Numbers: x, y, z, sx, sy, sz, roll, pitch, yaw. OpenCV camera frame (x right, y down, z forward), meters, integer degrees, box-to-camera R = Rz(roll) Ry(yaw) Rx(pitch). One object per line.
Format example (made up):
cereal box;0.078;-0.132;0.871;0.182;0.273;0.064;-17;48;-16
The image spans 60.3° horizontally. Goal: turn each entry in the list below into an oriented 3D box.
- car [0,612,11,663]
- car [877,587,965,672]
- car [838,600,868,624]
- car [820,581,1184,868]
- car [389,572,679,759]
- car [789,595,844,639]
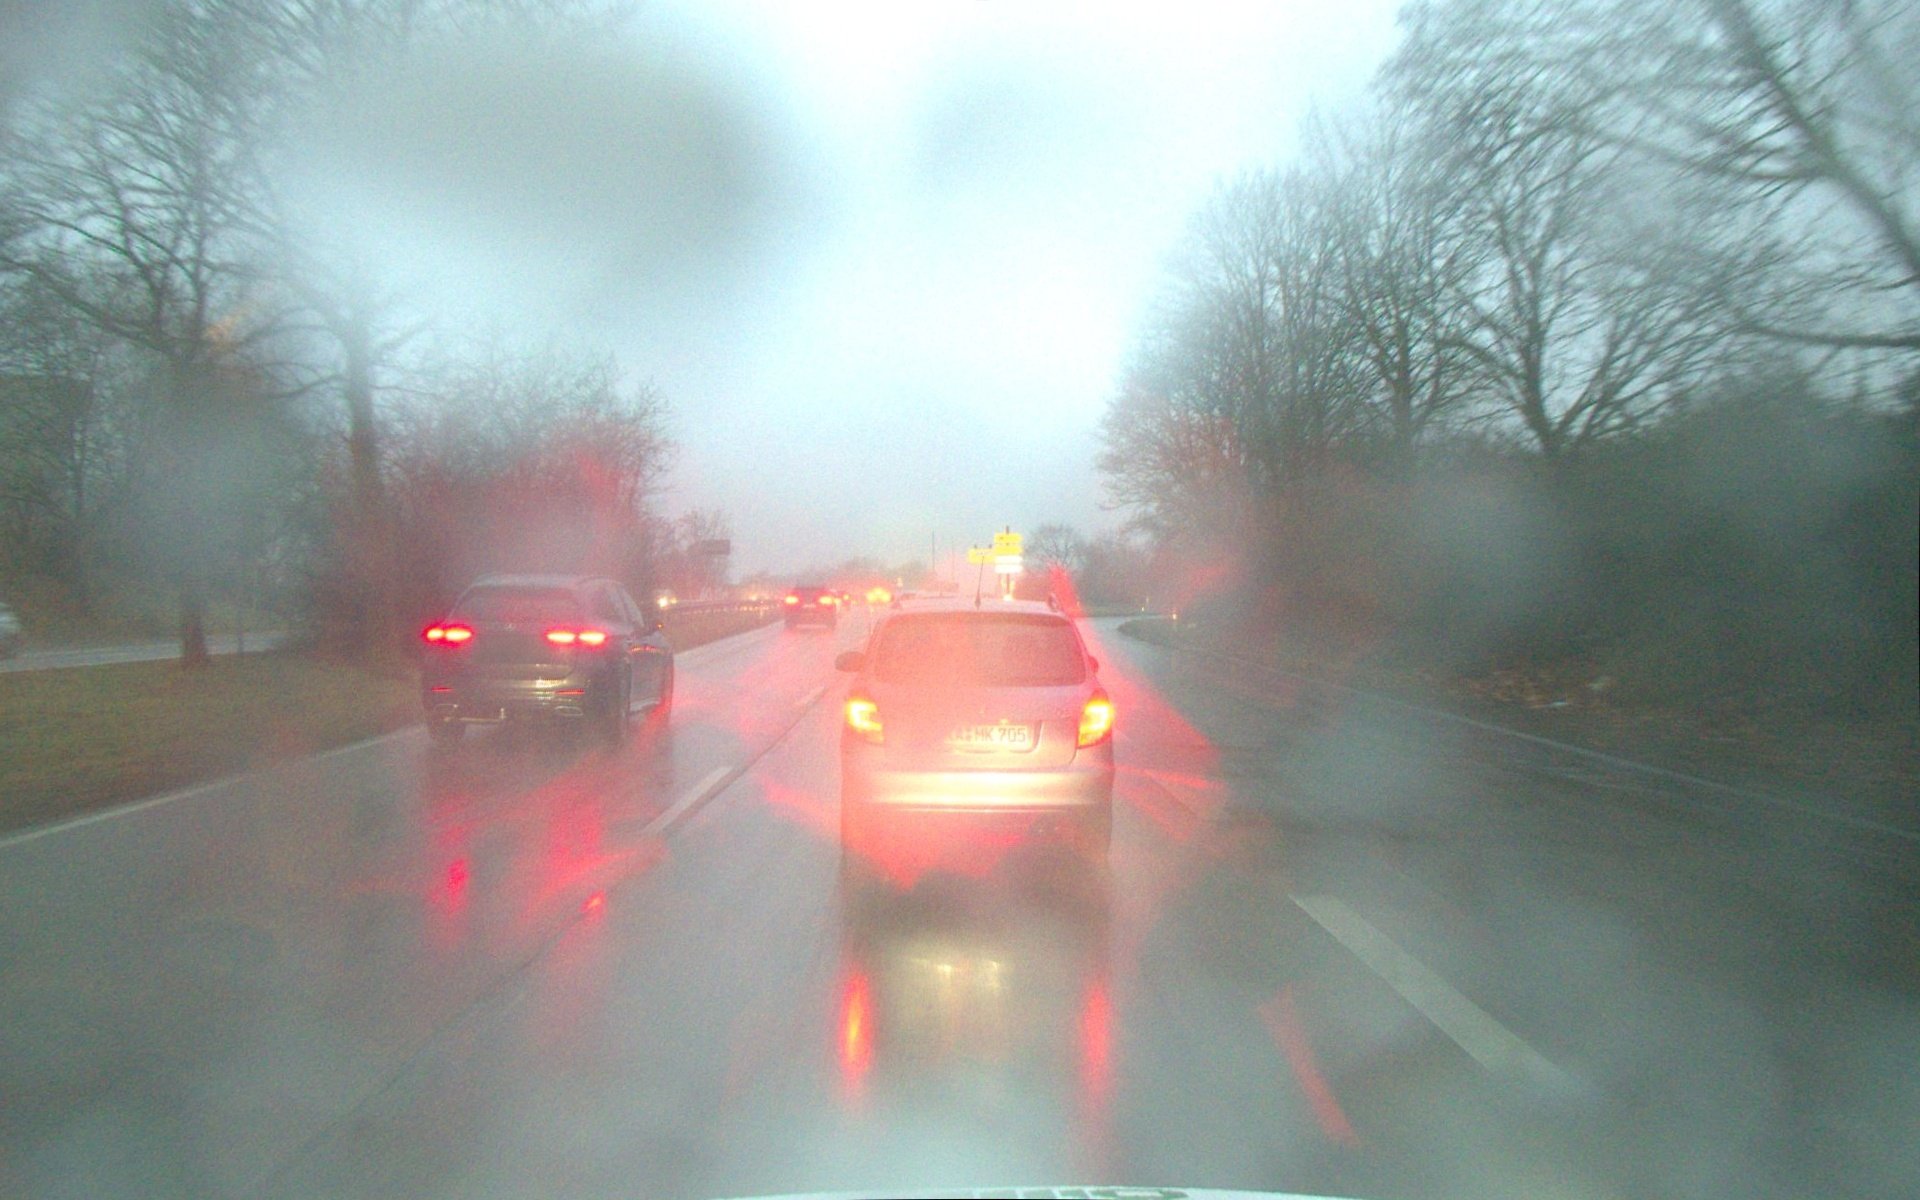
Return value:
car;-25.778;0.964;41.443;1.546;1.325;4.104;0;0;1
car;-0.833;0.618;37.344;1.858;1.798;4.308;0;0;0
car;-7.109;0.784;110.441;1.753;1.509;3.999;-1;0;-1
car;0.216;0.682;10.974;1.953;1.527;4.137;0;0;0
car;-4.176;0.593;16.973;1.953;1.629;4.307;1;0;-2
car;-5.334;0.619;61.971;1.753;1.572;3.999;0;0;-1
